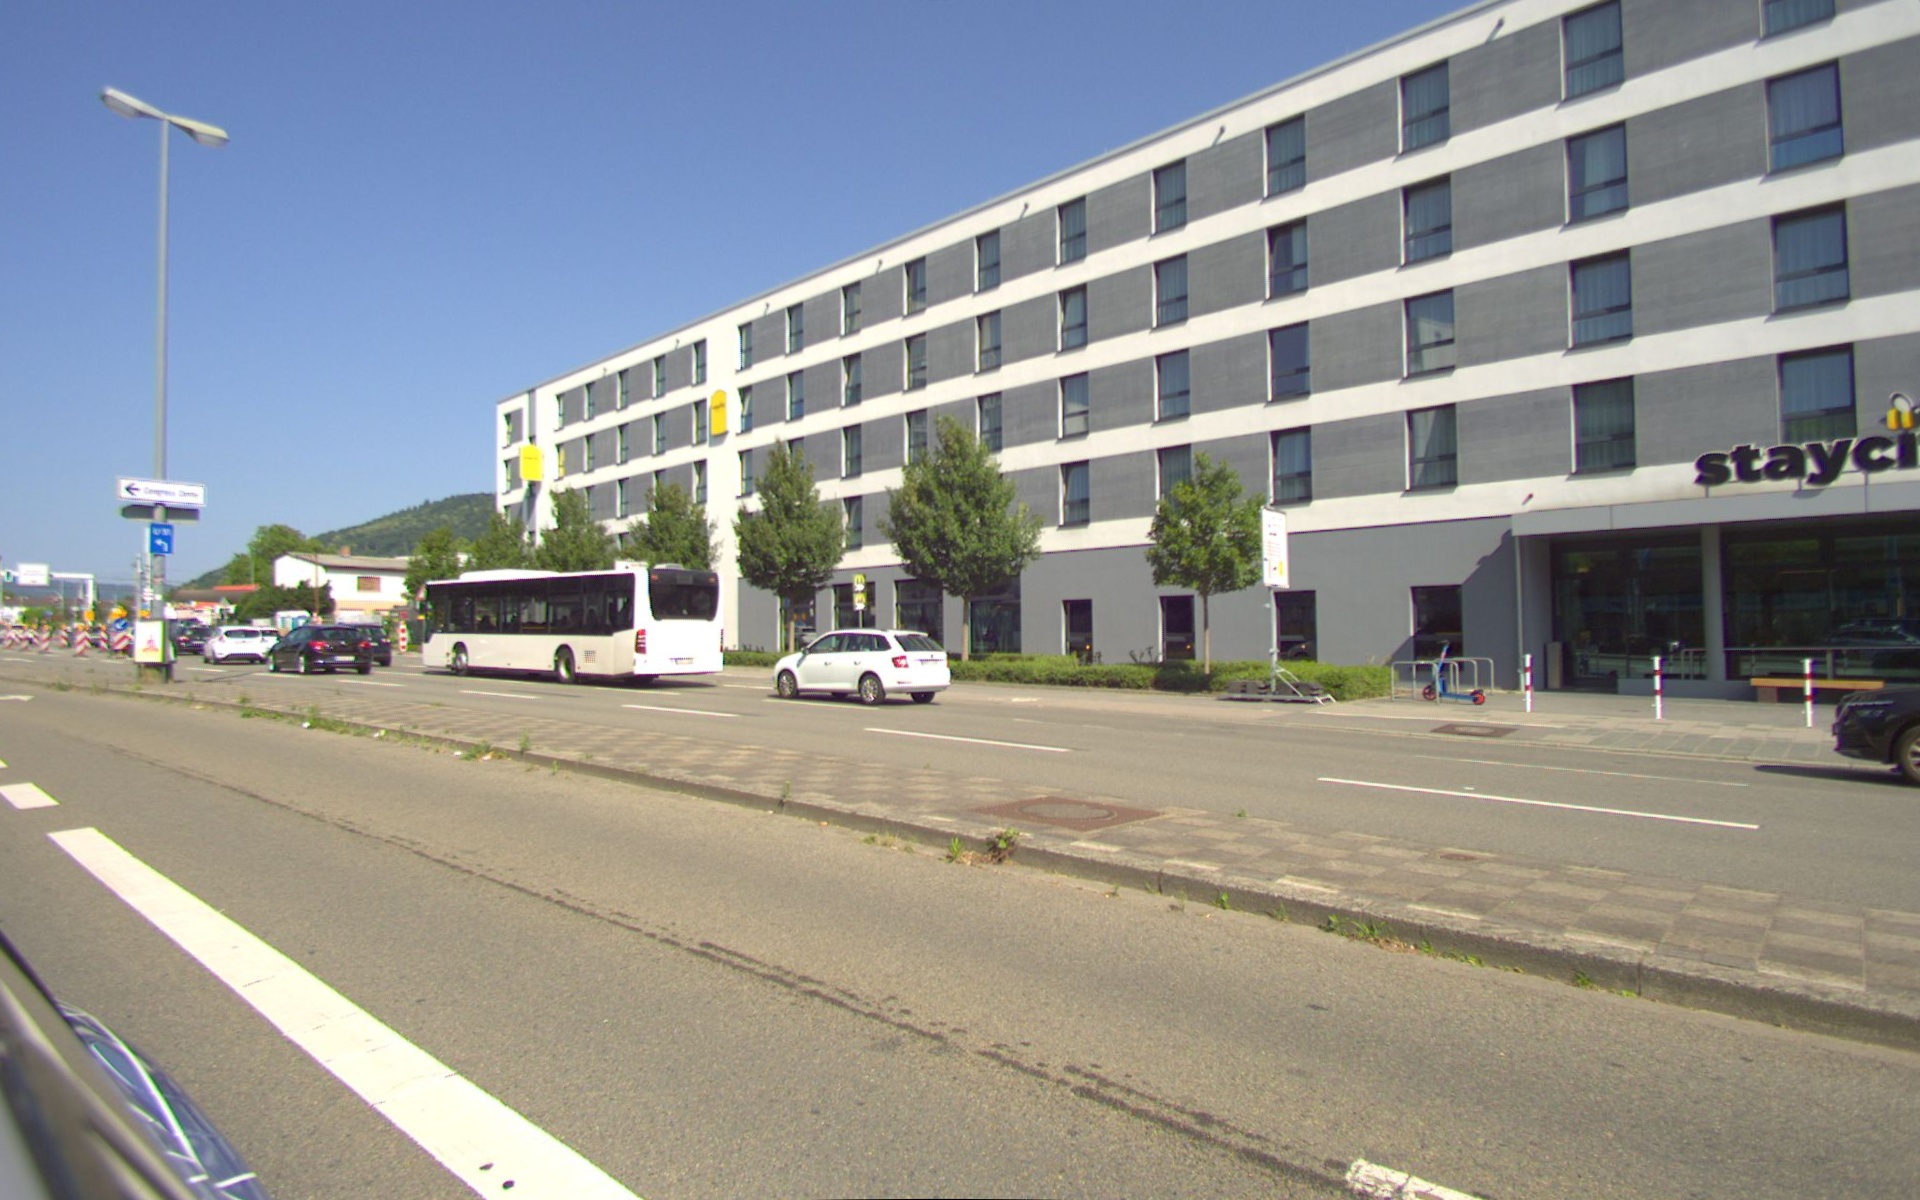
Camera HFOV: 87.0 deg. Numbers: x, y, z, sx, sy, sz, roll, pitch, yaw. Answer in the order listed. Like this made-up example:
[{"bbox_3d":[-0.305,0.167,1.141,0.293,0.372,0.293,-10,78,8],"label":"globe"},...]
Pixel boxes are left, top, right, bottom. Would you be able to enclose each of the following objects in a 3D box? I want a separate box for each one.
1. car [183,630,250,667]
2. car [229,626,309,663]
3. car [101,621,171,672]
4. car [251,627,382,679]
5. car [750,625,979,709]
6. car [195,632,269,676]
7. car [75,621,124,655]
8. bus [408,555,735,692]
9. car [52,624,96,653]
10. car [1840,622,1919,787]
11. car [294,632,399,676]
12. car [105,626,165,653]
[{"bbox_3d":[-35.130,2.259,47.812,3.588,1.631,1.697,-1,-1,39],"label":"car"},{"bbox_3d":[-30.730,1.966,44.998,3.973,1.550,1.835,-2,-3,39],"label":"car"},{"bbox_3d":[-35.590,1.954,43.702,4.162,2.029,1.658,0,0,41],"label":"car"},{"bbox_3d":[-19.550,1.556,30.663,4.887,1.443,1.973,-1,-2,40],"label":"car"},{"bbox_3d":[-1.987,1.322,20.589,4.403,1.497,1.976,0,-4,36],"label":"car"},{"bbox_3d":[-27.802,2.010,38.610,1.739,1.462,4.003,-1,0,-44],"label":"car"},{"bbox_3d":[-55.350,2.381,65.085,4.000,2.029,1.972,0,0,43],"label":"car"},{"bbox_3d":[-11.106,0.687,27.830,11.962,3.102,2.711,-1,-4,39],"label":"bus"},{"bbox_3d":[-66.672,2.844,76.150,3.998,2.029,1.973,0,0,41],"label":"car"},{"bbox_3d":[11.165,1.024,9.448,4.411,1.590,1.972,-1,-4,42],"label":"car"},{"bbox_3d":[-23.066,1.971,37.951,4.888,1.534,1.973,-1,-2,41],"label":"car"},{"bbox_3d":[-49.003,2.292,60.092,4.888,1.534,1.973,-1,-2,41],"label":"car"}]
